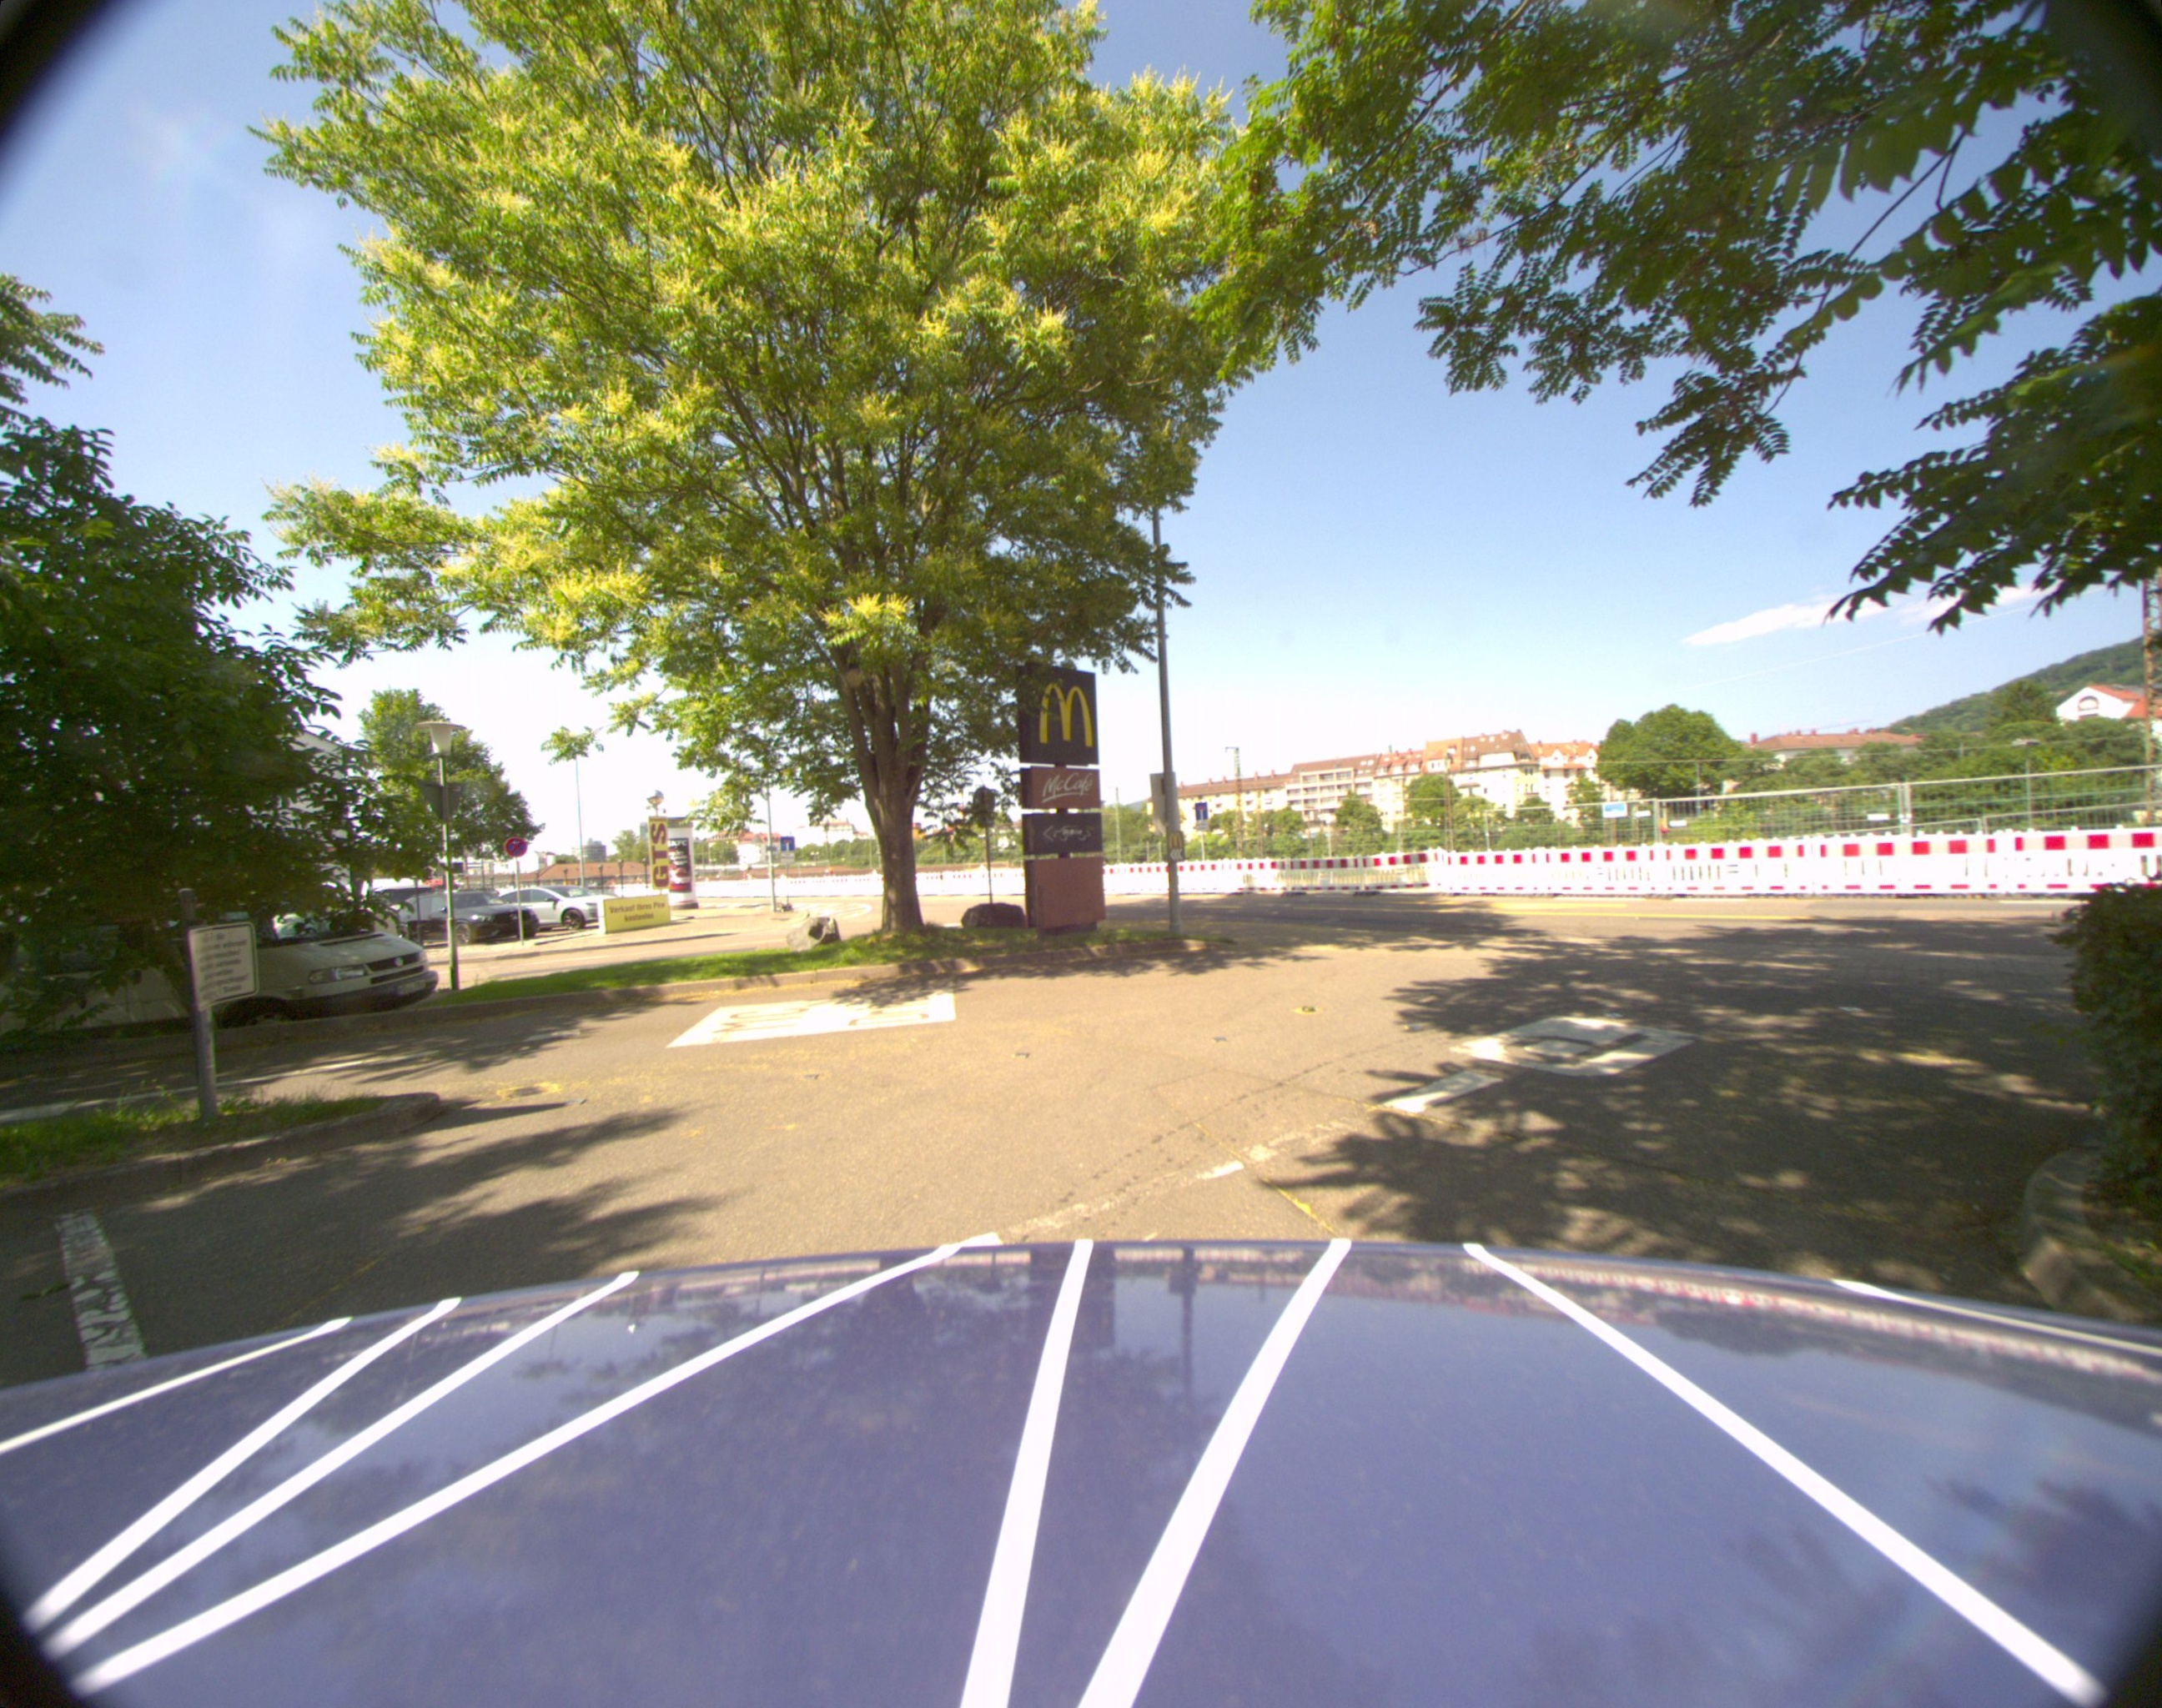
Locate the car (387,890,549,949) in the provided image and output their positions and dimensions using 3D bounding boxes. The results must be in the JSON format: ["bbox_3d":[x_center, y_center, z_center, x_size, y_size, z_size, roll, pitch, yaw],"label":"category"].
[{"bbox_3d":[-19.467,2.075,24.151,4.414,1.585,2.056,-4,-1,22],"label":"car"}]

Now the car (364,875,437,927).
[{"bbox_3d":[-33.249,2.272,37.097,4.698,2.271,2.146,-3,0,43],"label":"car"}]

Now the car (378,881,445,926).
[{"bbox_3d":[-28.987,2.120,32.836,1.887,1.727,4.710,-2,-1,-44],"label":"car"}]

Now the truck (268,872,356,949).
[{"bbox_3d":[-32.834,2.353,32.624,2.281,2.886,5.928,-2,-1,-43],"label":"truck"}]

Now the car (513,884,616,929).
[{"bbox_3d":[-21.208,2.154,31.189,3.990,1.619,1.866,-3,0,30],"label":"car"}]

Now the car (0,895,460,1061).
[{"bbox_3d":[-11.070,1.446,9.340,5.029,1.573,1.957,-3,-1,-5],"label":"car"}]

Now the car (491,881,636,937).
[{"bbox_3d":[-18.569,1.956,27.354,3.994,1.715,2.002,-4,-1,10],"label":"car"}]
